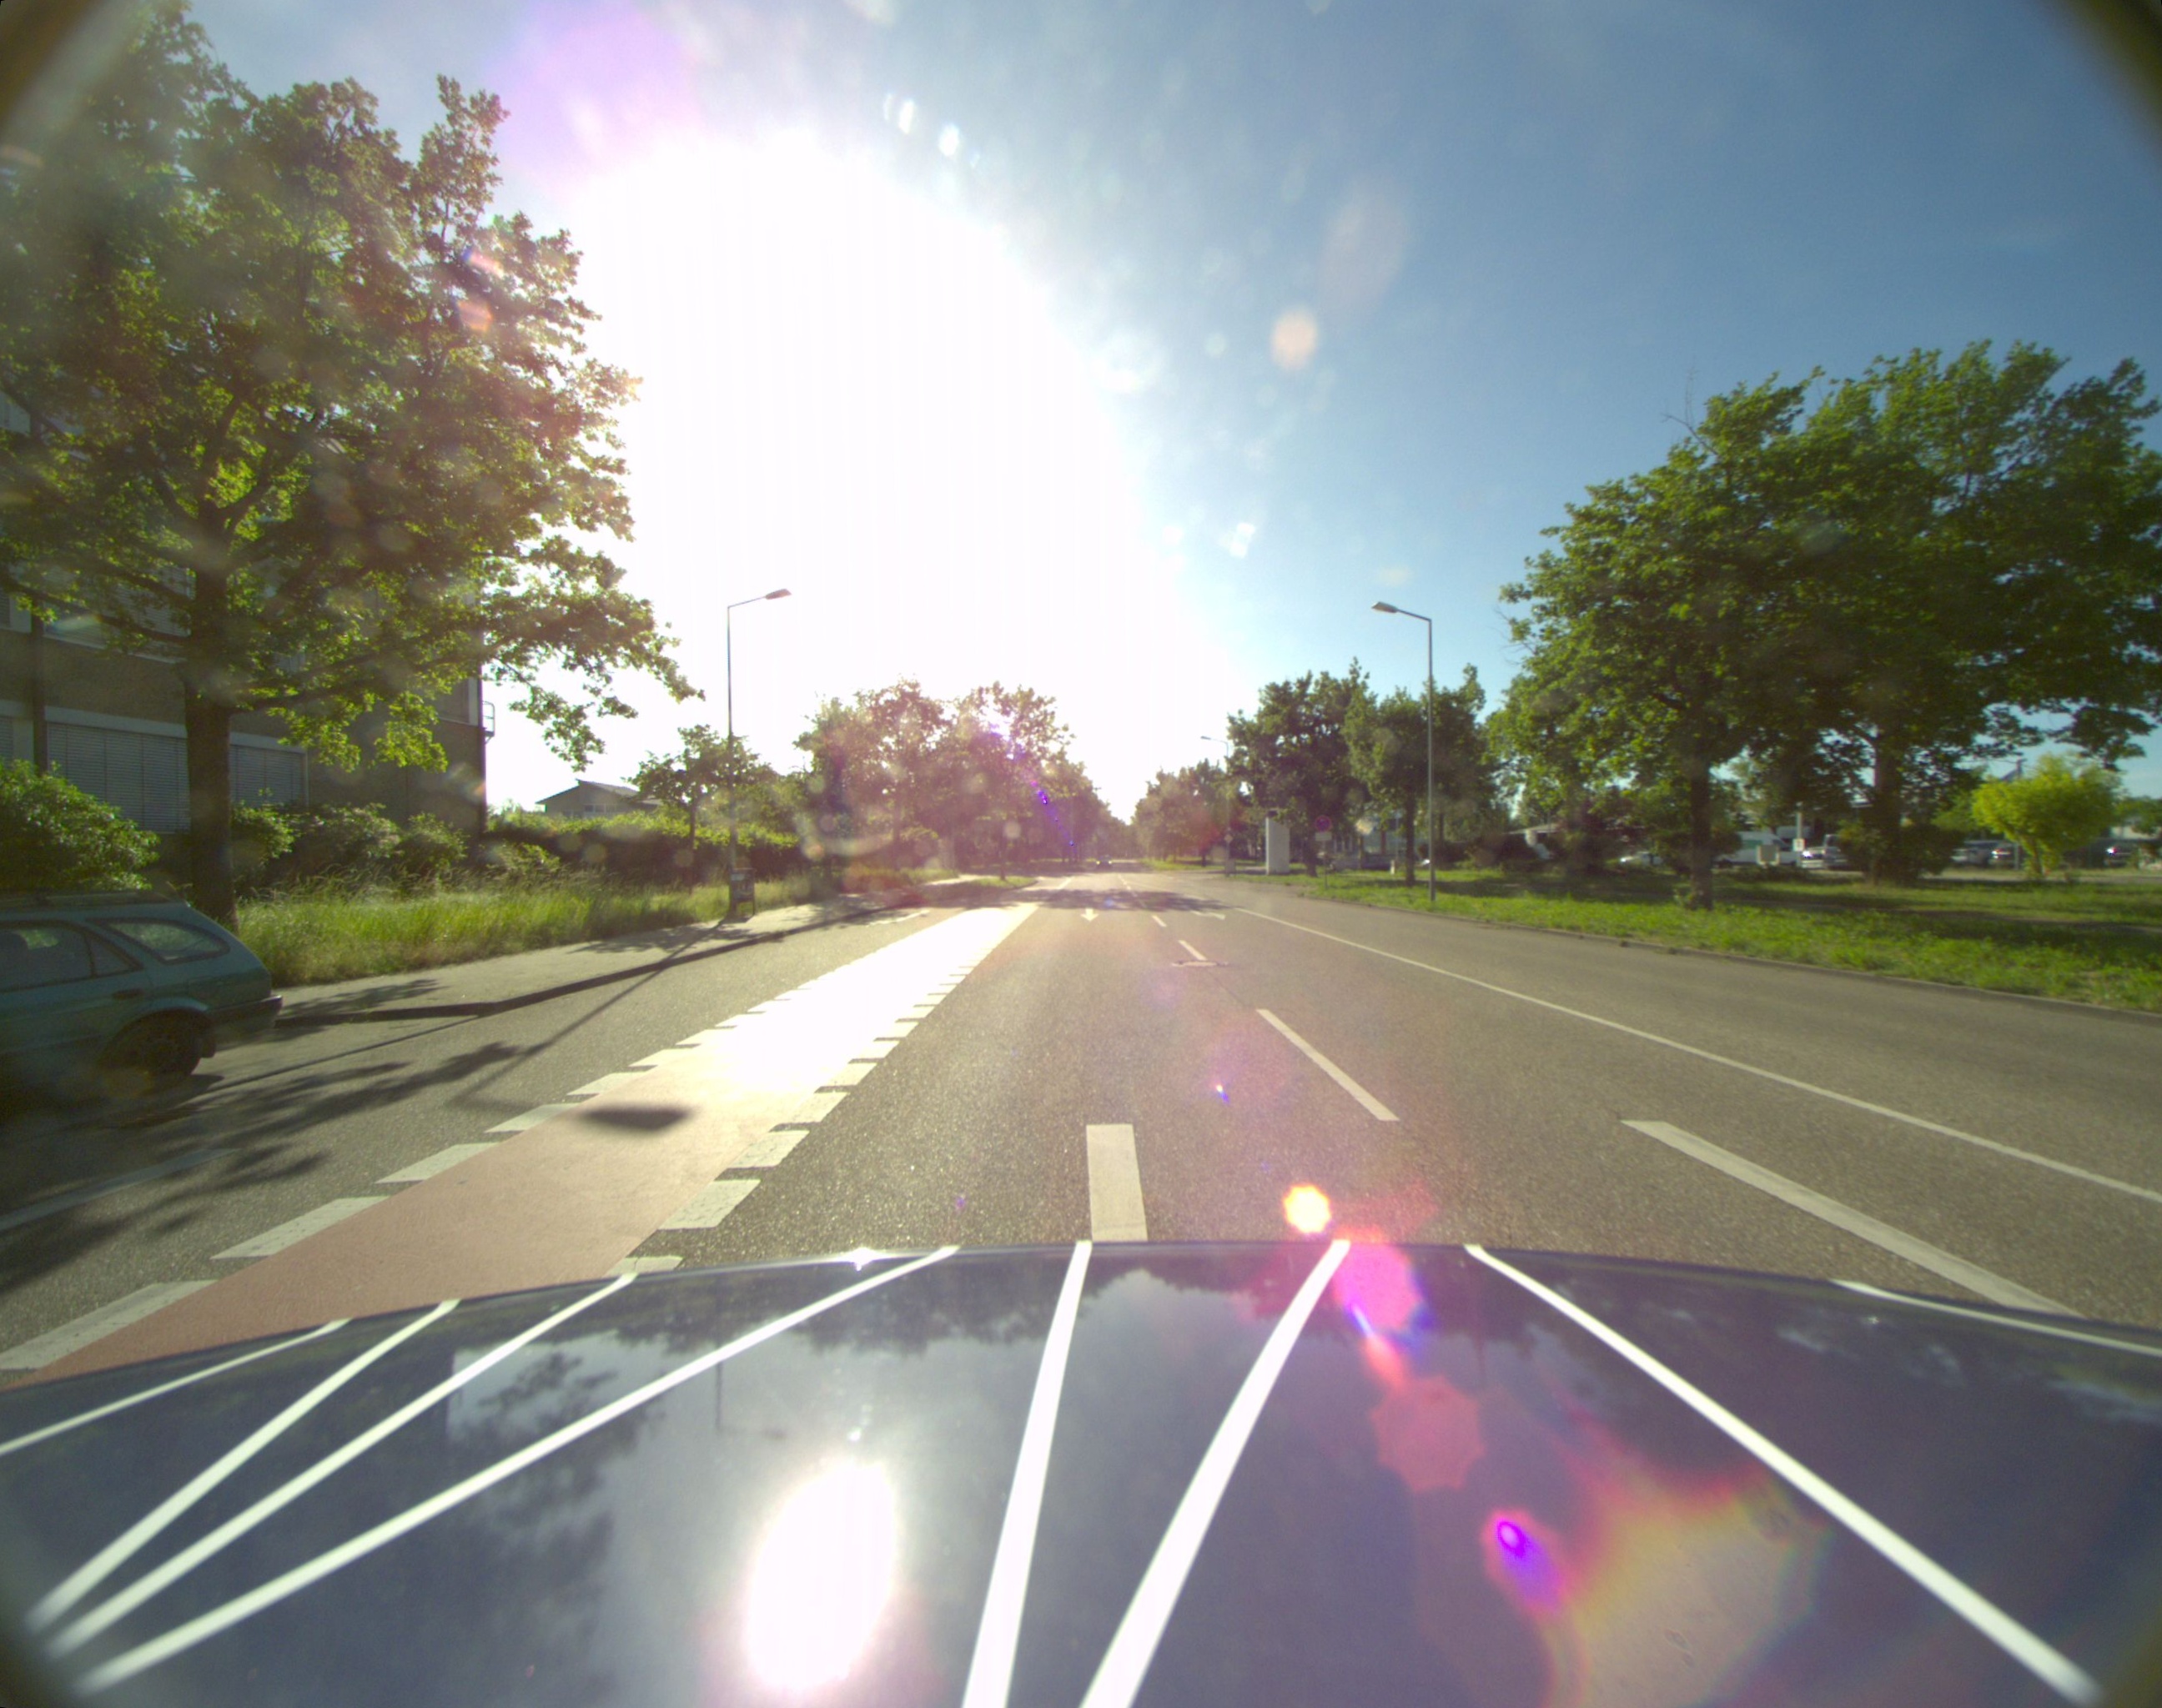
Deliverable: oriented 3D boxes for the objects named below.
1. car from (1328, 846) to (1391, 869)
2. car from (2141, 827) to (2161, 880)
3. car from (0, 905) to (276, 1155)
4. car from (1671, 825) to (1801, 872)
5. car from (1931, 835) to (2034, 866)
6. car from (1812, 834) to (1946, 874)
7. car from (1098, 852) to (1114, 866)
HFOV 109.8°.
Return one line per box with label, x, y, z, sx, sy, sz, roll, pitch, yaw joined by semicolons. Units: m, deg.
car;23.923;0.296;65.364;4.637;1.822;2.000;-2;1;0
car;33.882;-0.086;22.033;3.817;1.562;1.736;-2;-1;0
car;-7.532;1.130;4.214;1.706;1.460;4.141;-1;-1;0
car;39.894;-0.339;46.391;6.023;2.540;2.409;-2;1;-4
car;52.083;-0.207;43.953;3.860;1.661;1.762;-2;1;0
car;40.055;-0.005;38.214;4.642;1.771;1.990;-2;1;0
car;2.820;0.534;85.261;1.653;1.460;3.941;-2;0;4
